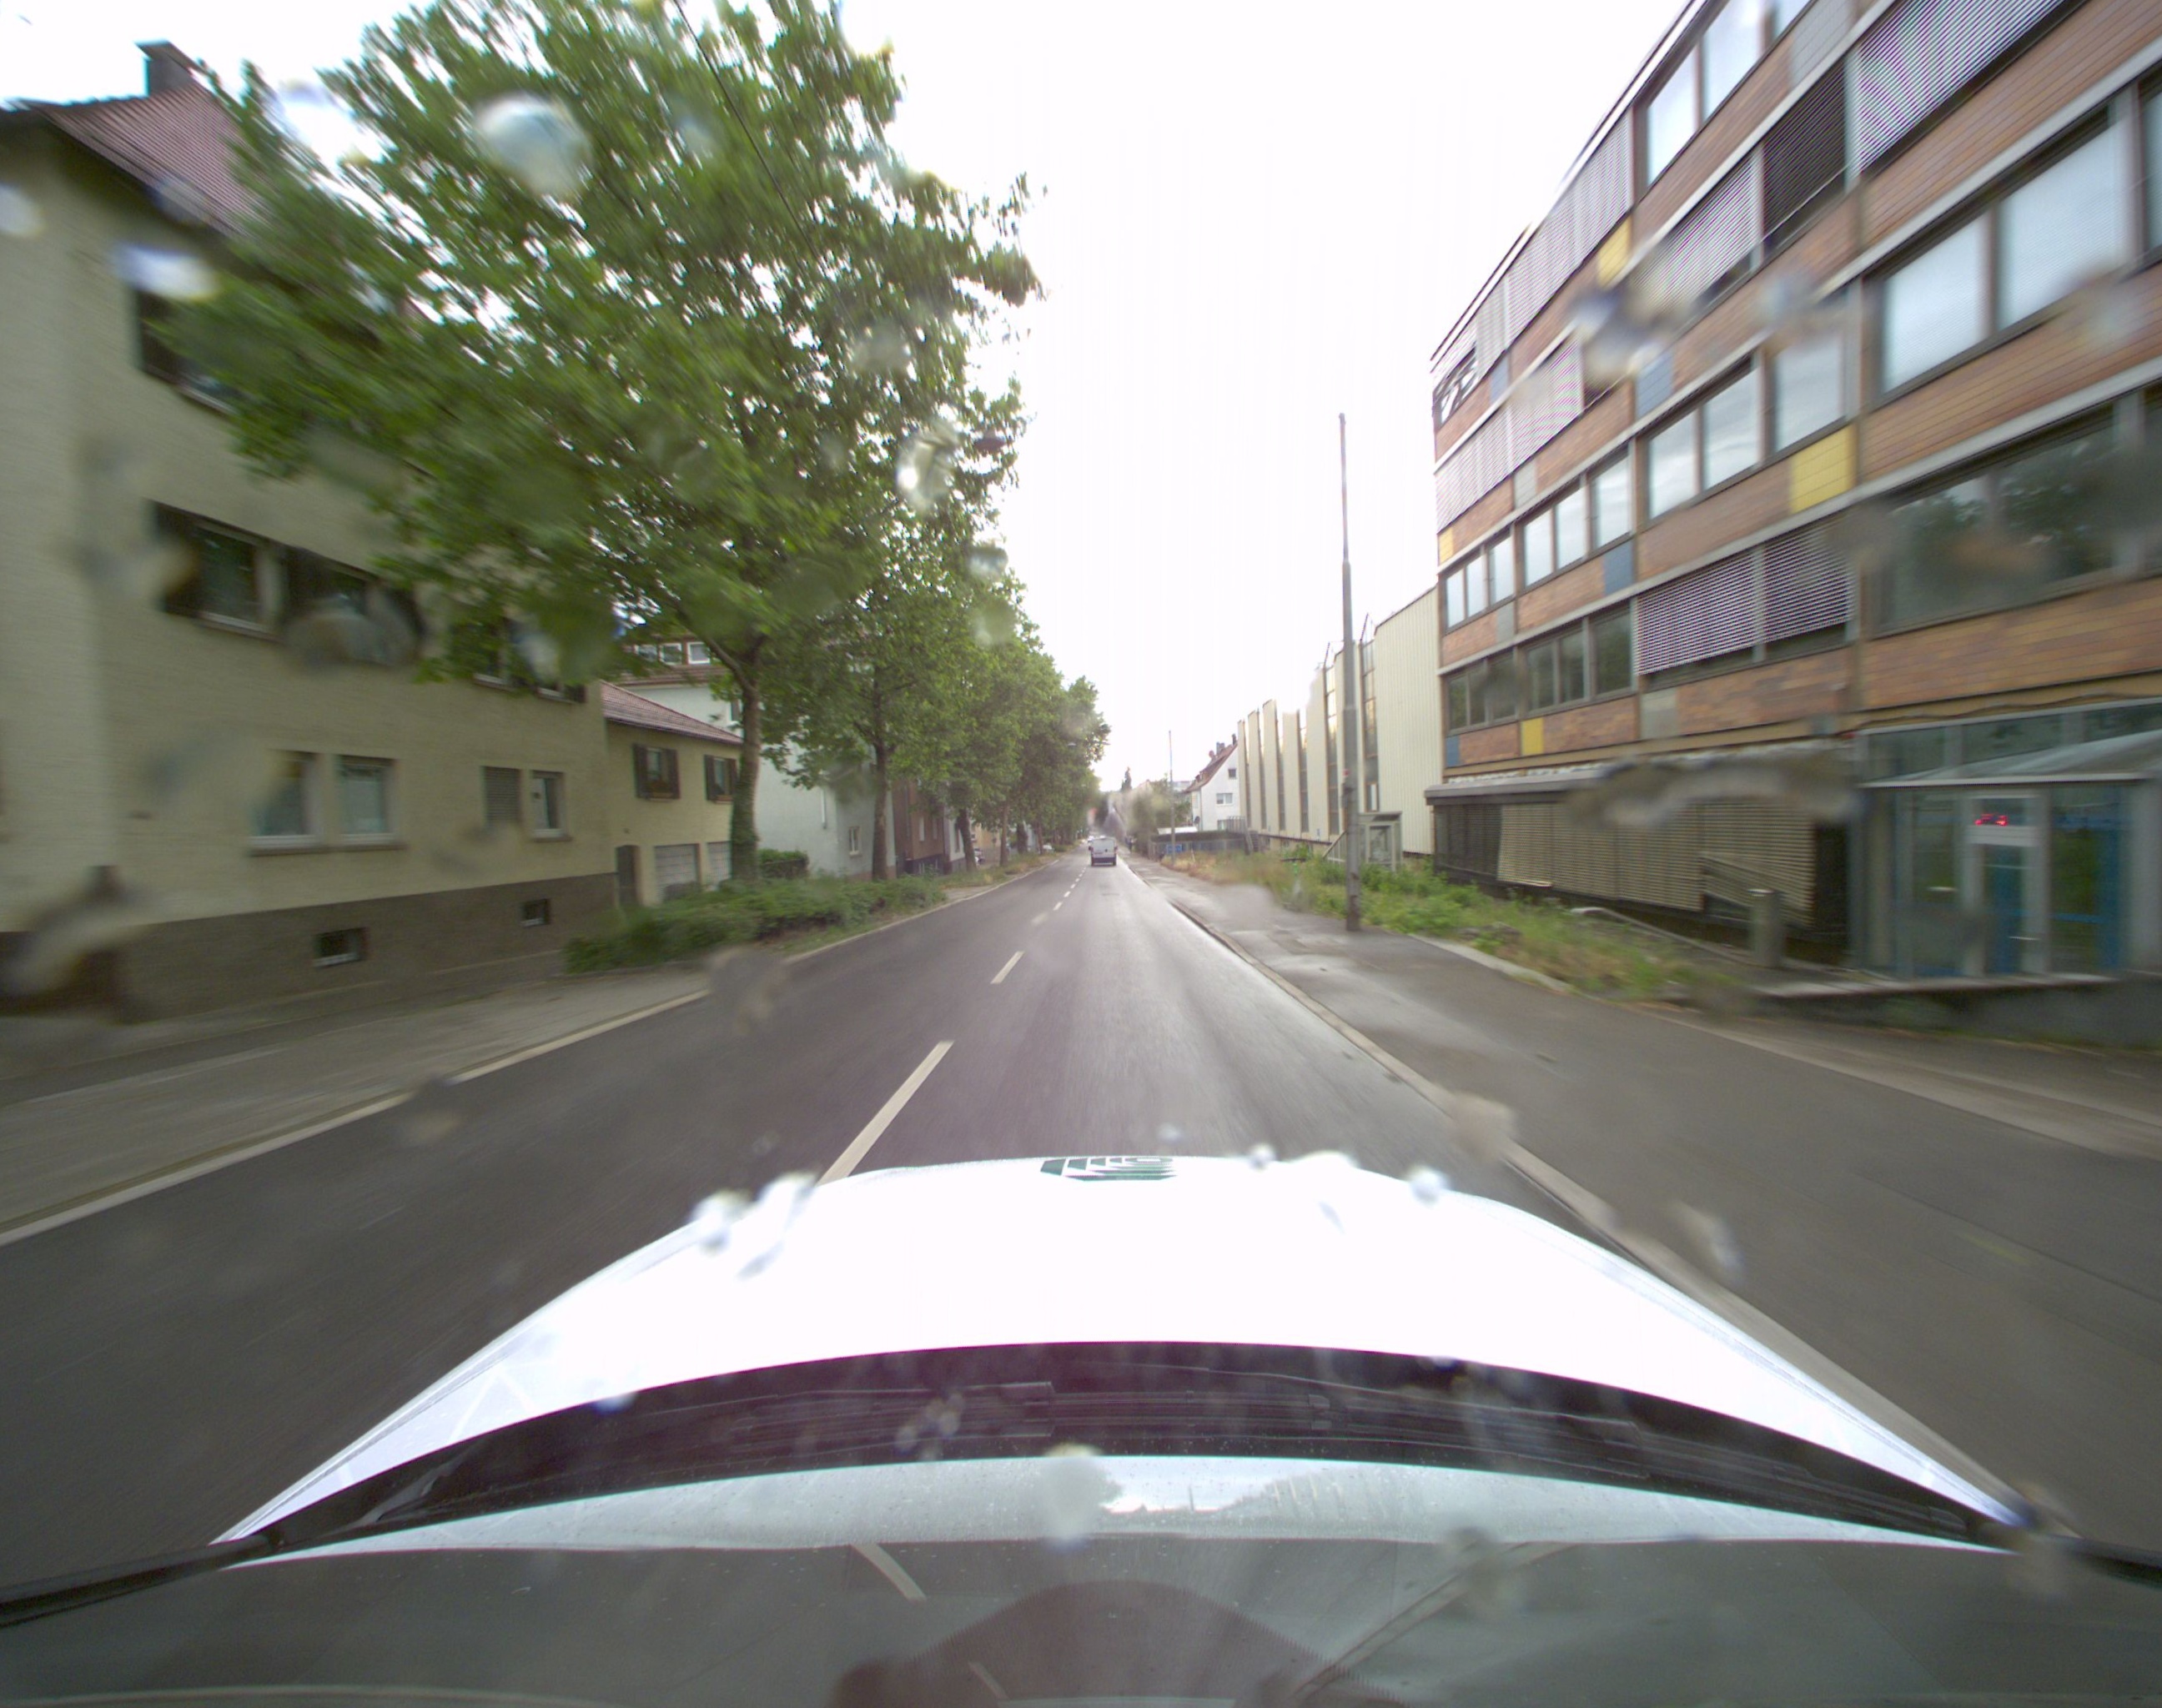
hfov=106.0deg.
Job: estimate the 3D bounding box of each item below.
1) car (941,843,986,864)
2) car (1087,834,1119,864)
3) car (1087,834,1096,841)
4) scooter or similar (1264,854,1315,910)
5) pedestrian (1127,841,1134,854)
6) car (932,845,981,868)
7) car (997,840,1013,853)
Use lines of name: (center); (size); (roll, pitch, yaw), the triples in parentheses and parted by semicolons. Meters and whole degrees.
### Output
car: (-11.861, -0.045, 82.632); (4.182, 1.891, 2.000); (-2, 1, 0)
car: (1.747, -0.424, 66.614); (2.339, 2.160, 4.778); (-3, 2, 0)
car: (2.587, -4.099, 202.382); (1.988, 1.709, 4.257); (-2, 1, -2)
scooter or similar: (4.629, 0.590, 18.168); (0.603, 1.162, 1.698); (-3, 0, -3)
pedestrian: (6.345, -0.804, 104.150); (0.812, 1.698, 0.730); (-2, 0, 4)
car: (-11.736, 0.227, 77.037); (4.182, 1.891, 2.000); (-2, 1, 0)
car: (-11.779, -1.199, 126.365); (1.868, 1.894, 4.002); (-2, 2, 1)
